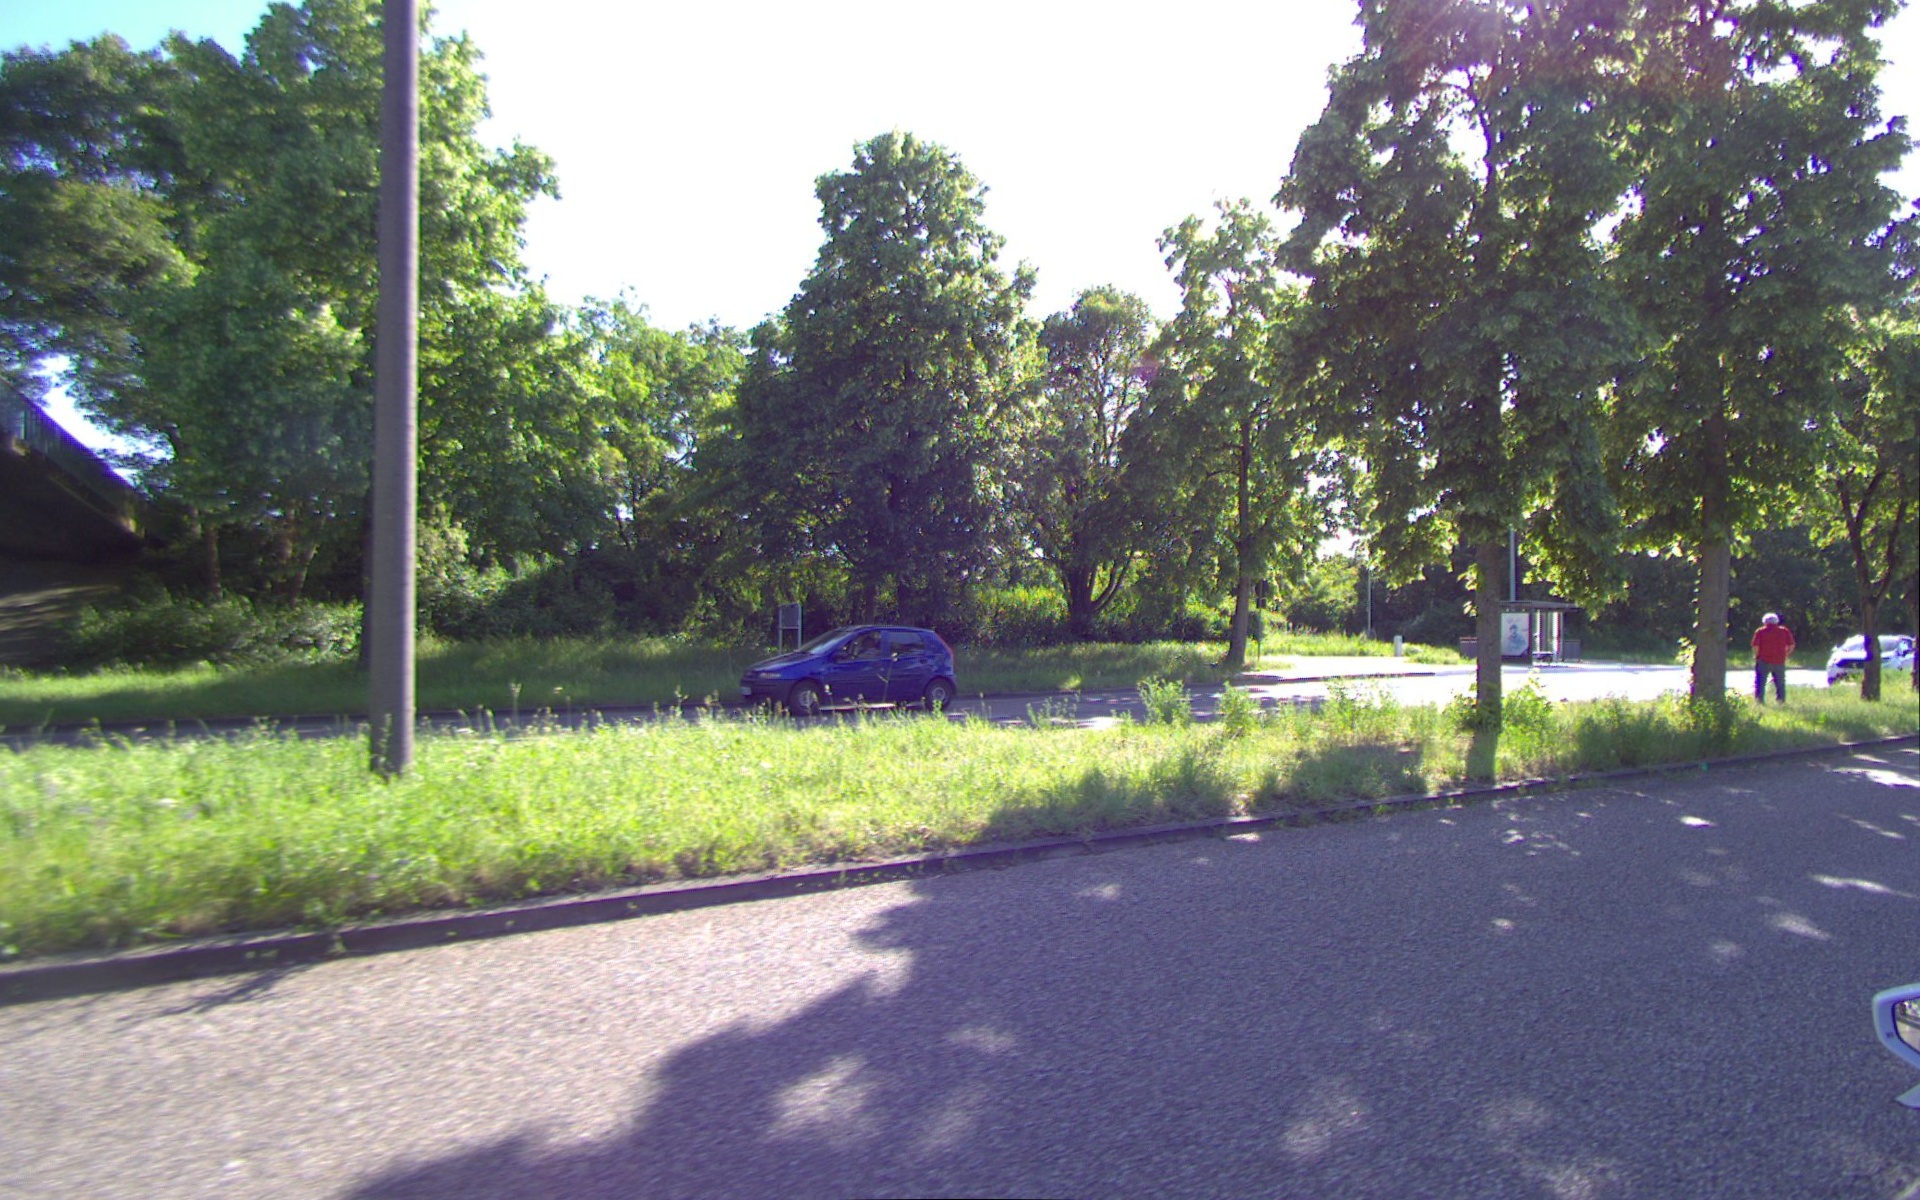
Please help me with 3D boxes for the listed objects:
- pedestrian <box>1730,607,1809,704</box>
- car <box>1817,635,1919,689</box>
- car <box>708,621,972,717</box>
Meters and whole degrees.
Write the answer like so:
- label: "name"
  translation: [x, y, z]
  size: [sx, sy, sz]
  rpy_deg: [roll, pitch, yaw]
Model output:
- label: "pedestrian"
  translation: [14.746, 1.003, 18.306]
  size: [0.924, 1.719, 0.632]
  rpy_deg: [1, 0, -2]
- label: "car"
  translation: [29.775, 1.993, 32.743]
  size: [4.153, 1.653, 1.720]
  rpy_deg: [2, -2, -33]
- label: "car"
  translation: [-1.978, 1.127, 17.037]
  size: [4.205, 1.449, 1.533]
  rpy_deg: [2, -2, -30]
